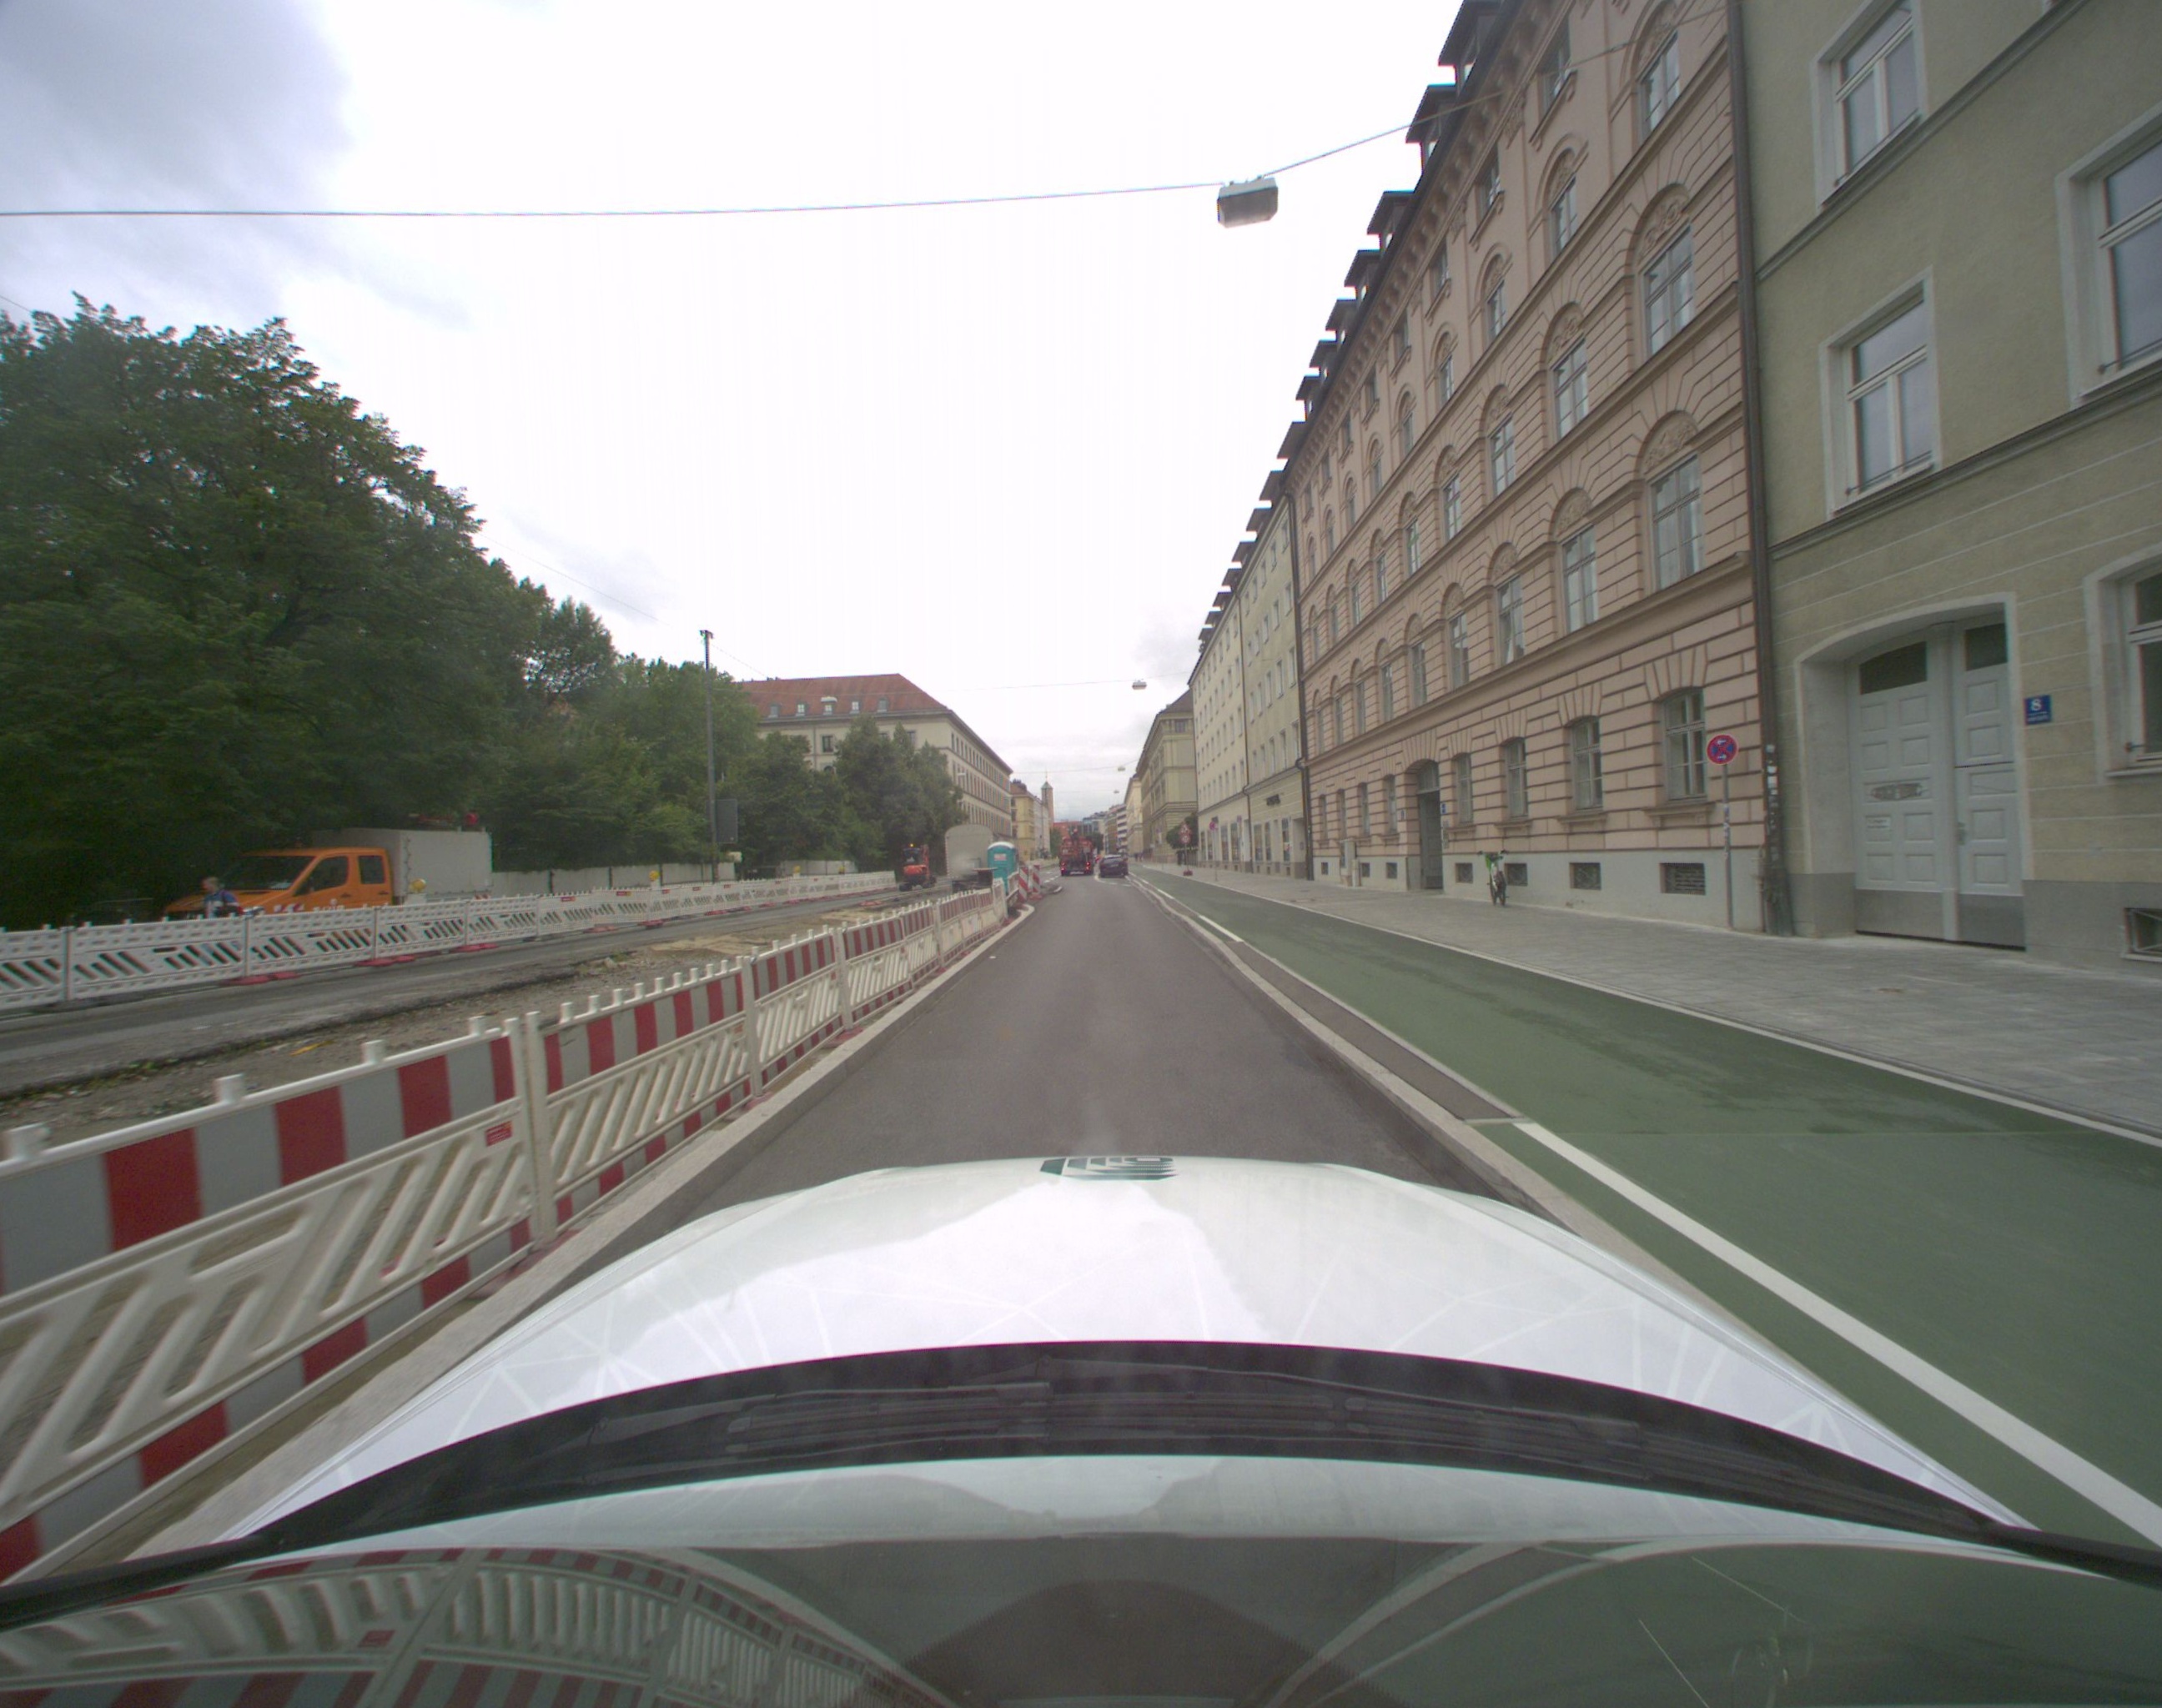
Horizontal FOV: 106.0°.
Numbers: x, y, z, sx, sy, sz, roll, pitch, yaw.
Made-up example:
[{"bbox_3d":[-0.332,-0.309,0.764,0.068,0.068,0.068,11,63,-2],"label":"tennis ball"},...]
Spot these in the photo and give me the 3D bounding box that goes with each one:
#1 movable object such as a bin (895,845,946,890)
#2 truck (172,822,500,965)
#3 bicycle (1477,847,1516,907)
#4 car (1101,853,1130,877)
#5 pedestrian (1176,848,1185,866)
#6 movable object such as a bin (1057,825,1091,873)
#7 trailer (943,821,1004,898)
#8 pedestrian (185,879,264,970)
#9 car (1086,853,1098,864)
[{"bbox_3d":[-9.788,0.799,49.960,1.916,2.572,4.496,-2,0,3],"label":"movable object such as a bin"},{"bbox_3d":[-16.757,0.765,18.966,1.986,2.728,5.873,-2,0,2],"label":"truck"},{"bbox_3d":[8.726,0.459,17.146,0.422,1.174,1.740,-4,0,18],"label":"bicycle"},{"bbox_3d":[2.366,0.710,56.545,1.796,1.480,4.687,-3,0,0],"label":"car"},{"bbox_3d":[10.082,0.303,82.863,0.787,1.836,0.777,-3,0,2],"label":"pedestrian"},{"bbox_3d":[-0.507,-0.383,65.289,2.415,3.611,5.851,-2,0,0],"label":"movable object such as a bin"},{"bbox_3d":[-5.081,0.244,39.477,2.222,3.243,7.510,-3,0,-3],"label":"trailer"},{"bbox_3d":[-15.761,1.280,14.998,0.660,1.603,0.698,-2,0,2],"label":"pedestrian"},{"bbox_3d":[1.546,0.669,115.345,1.604,1.495,3.425,-2,0,1],"label":"car"}]
